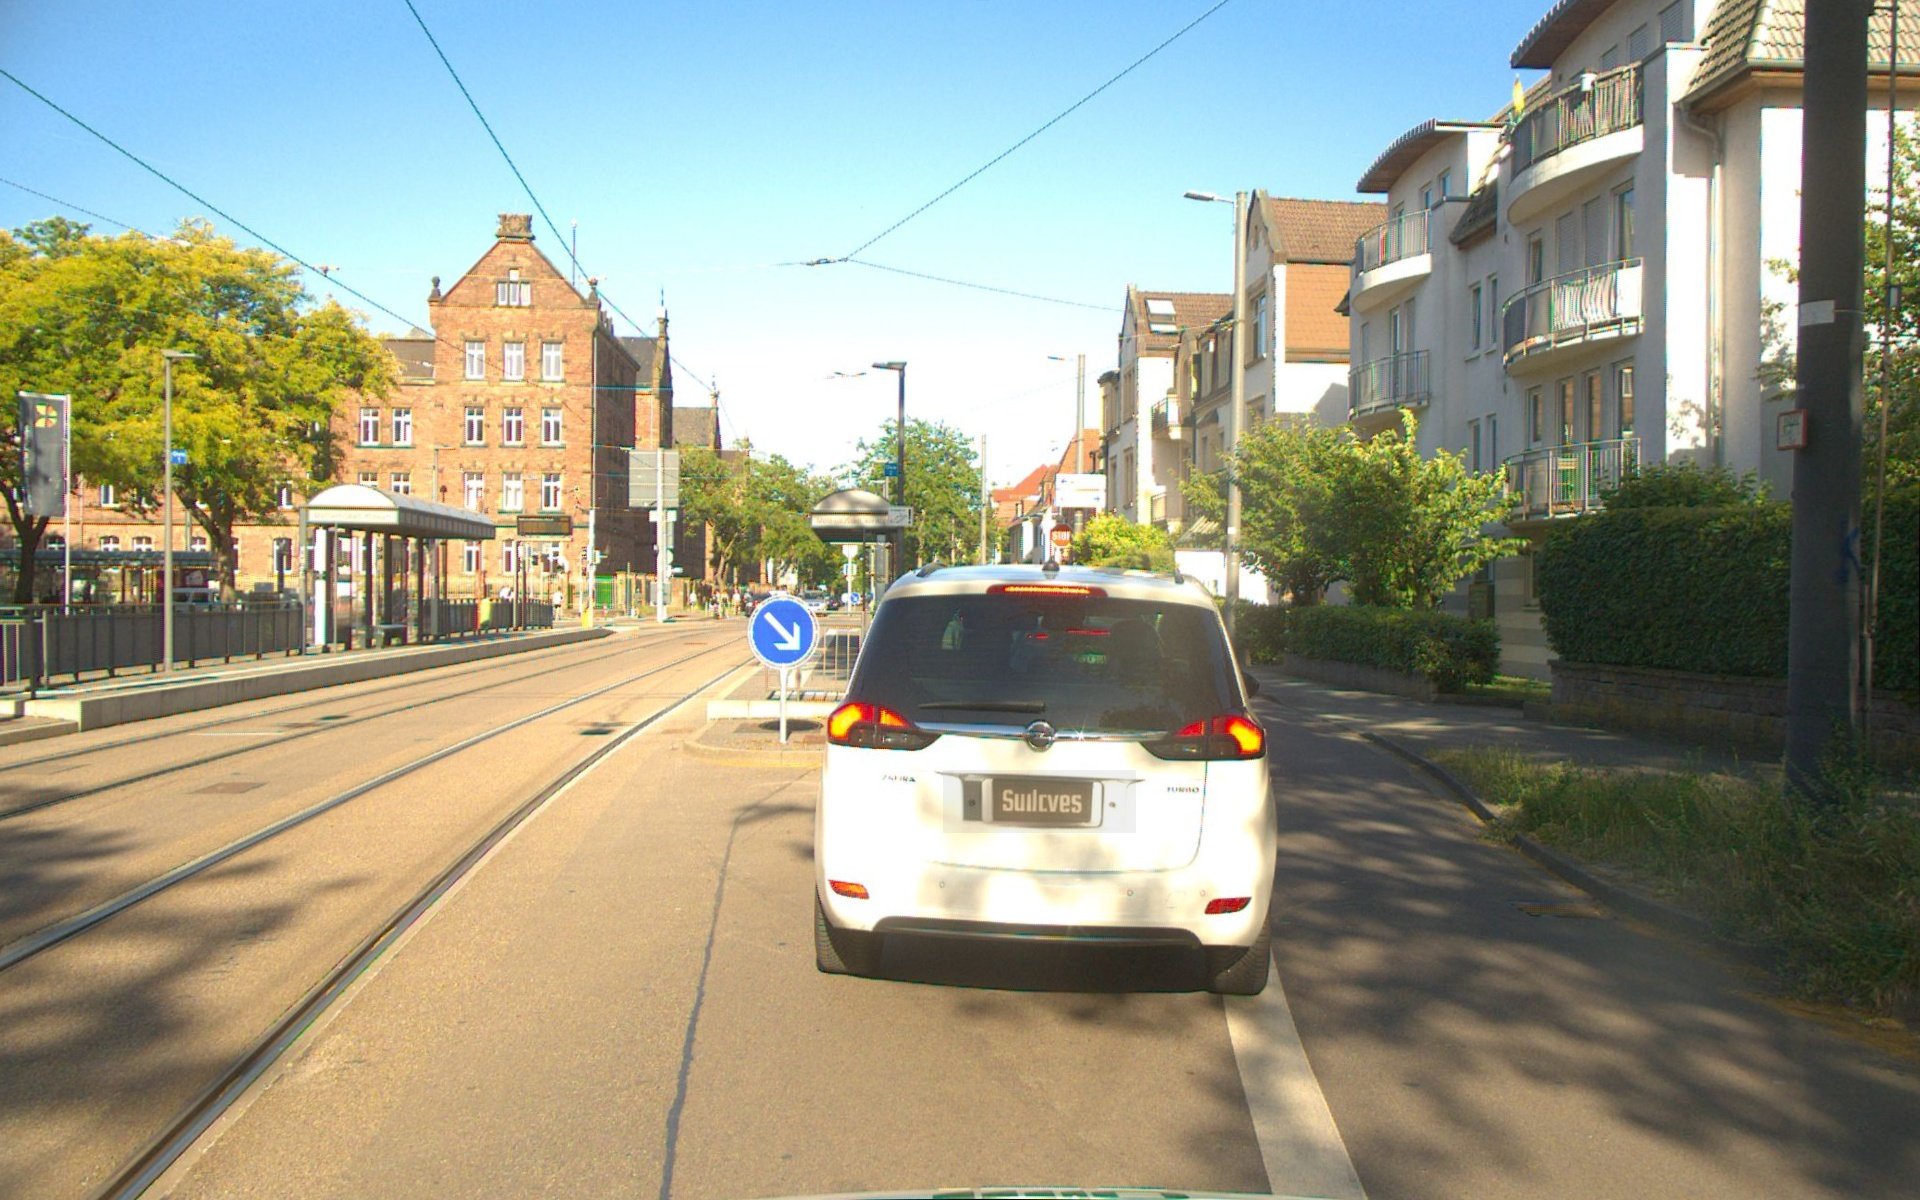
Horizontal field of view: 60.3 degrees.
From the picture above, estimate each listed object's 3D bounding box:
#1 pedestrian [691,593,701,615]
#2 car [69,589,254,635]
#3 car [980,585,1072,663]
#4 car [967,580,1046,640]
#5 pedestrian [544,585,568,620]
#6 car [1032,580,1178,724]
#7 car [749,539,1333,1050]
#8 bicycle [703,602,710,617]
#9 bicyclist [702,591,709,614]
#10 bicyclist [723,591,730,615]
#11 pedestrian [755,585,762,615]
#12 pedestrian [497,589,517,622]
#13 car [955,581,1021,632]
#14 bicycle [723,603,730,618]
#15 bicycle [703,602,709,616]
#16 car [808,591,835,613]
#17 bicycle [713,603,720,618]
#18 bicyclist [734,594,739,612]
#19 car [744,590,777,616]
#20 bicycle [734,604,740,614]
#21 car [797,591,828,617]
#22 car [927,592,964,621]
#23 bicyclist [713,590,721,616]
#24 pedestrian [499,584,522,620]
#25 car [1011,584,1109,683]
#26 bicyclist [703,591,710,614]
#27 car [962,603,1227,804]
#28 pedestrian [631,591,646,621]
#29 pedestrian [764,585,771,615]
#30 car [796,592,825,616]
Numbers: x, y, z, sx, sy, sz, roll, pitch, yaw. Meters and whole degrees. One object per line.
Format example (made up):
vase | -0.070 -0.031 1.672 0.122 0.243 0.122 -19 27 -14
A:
pedestrian | -20.904 0.329 130.982 0.720 1.744 0.753 1 -1 -6
car | -35.724 0.526 74.194 6.810 1.954 2.991 0 0 -2
car | 1.380 0.494 36.194 1.793 1.607 4.009 0 0 -1
car | 1.201 0.259 44.315 1.953 1.529 3.999 0 0 -1
pedestrian | -19.813 0.111 81.134 0.877 1.713 1.029 1 0 -1
car | 1.741 0.587 20.846 1.603 1.629 3.855 0 0 1
car | 0.457 0.651 7.600 1.951 1.673 3.996 1 0 6
bicycle | -17.315 0.654 113.037 0.337 0.966 0.996 1 0 -4
bicyclist | -17.647 0.180 114.826 0.435 1.580 0.495 0 0 -4
bicyclist | -15.381 0.196 108.914 0.435 1.580 0.495 0 0 -4
pedestrian | -13.644 0.003 111.744 0.435 2.049 0.495 0 0 -4
pedestrian | -22.505 0.254 82.171 0.786 1.616 0.934 1 0 -3
car | 0.830 0.193 51.771 1.953 1.529 3.999 0 0 -1
bicycle | -15.391 0.670 108.921 0.337 0.966 0.996 1 0 -4
bicycle | -17.653 0.656 114.862 0.337 0.966 0.996 1 0 -4
car | -10.938 0.138 130.486 1.953 1.657 3.998 0 0 -3
bicycle | -15.160 0.649 102.842 0.337 0.966 1.159 1 0 -4
bicyclist | -16.896 0.236 125.141 0.352 1.326 0.397 0 0 -4
car | -12.854 0.193 106.890 1.955 1.657 3.996 0 0 -5
bicycle | -16.887 0.672 125.141 0.337 0.737 0.996 1 0 -4
car | -9.544 0.243 107.163 1.955 1.657 3.996 0 0 -5
car | -0.873 0.361 96.161 1.954 1.657 3.997 0 0 -4
bicyclist | -15.151 0.174 103.051 0.435 1.580 0.742 0 0 -4
pedestrian | -21.869 0.080 80.521 0.825 1.721 1.029 1 0 -1
car | 1.714 0.553 29.274 1.603 1.629 3.855 0 0 1
bicyclist | -17.330 0.178 112.996 0.435 1.580 0.495 0 0 -4
car | 1.031 0.750 13.987 1.912 1.422 4.001 0 0 1
pedestrian | -19.124 0.366 98.364 0.719 1.744 0.706 1 -1 -1
pedestrian | -13.053 0.015 112.053 0.435 2.049 0.495 0 0 -4
car | -10.349 0.258 114.256 1.955 1.657 3.996 0 0 -5
